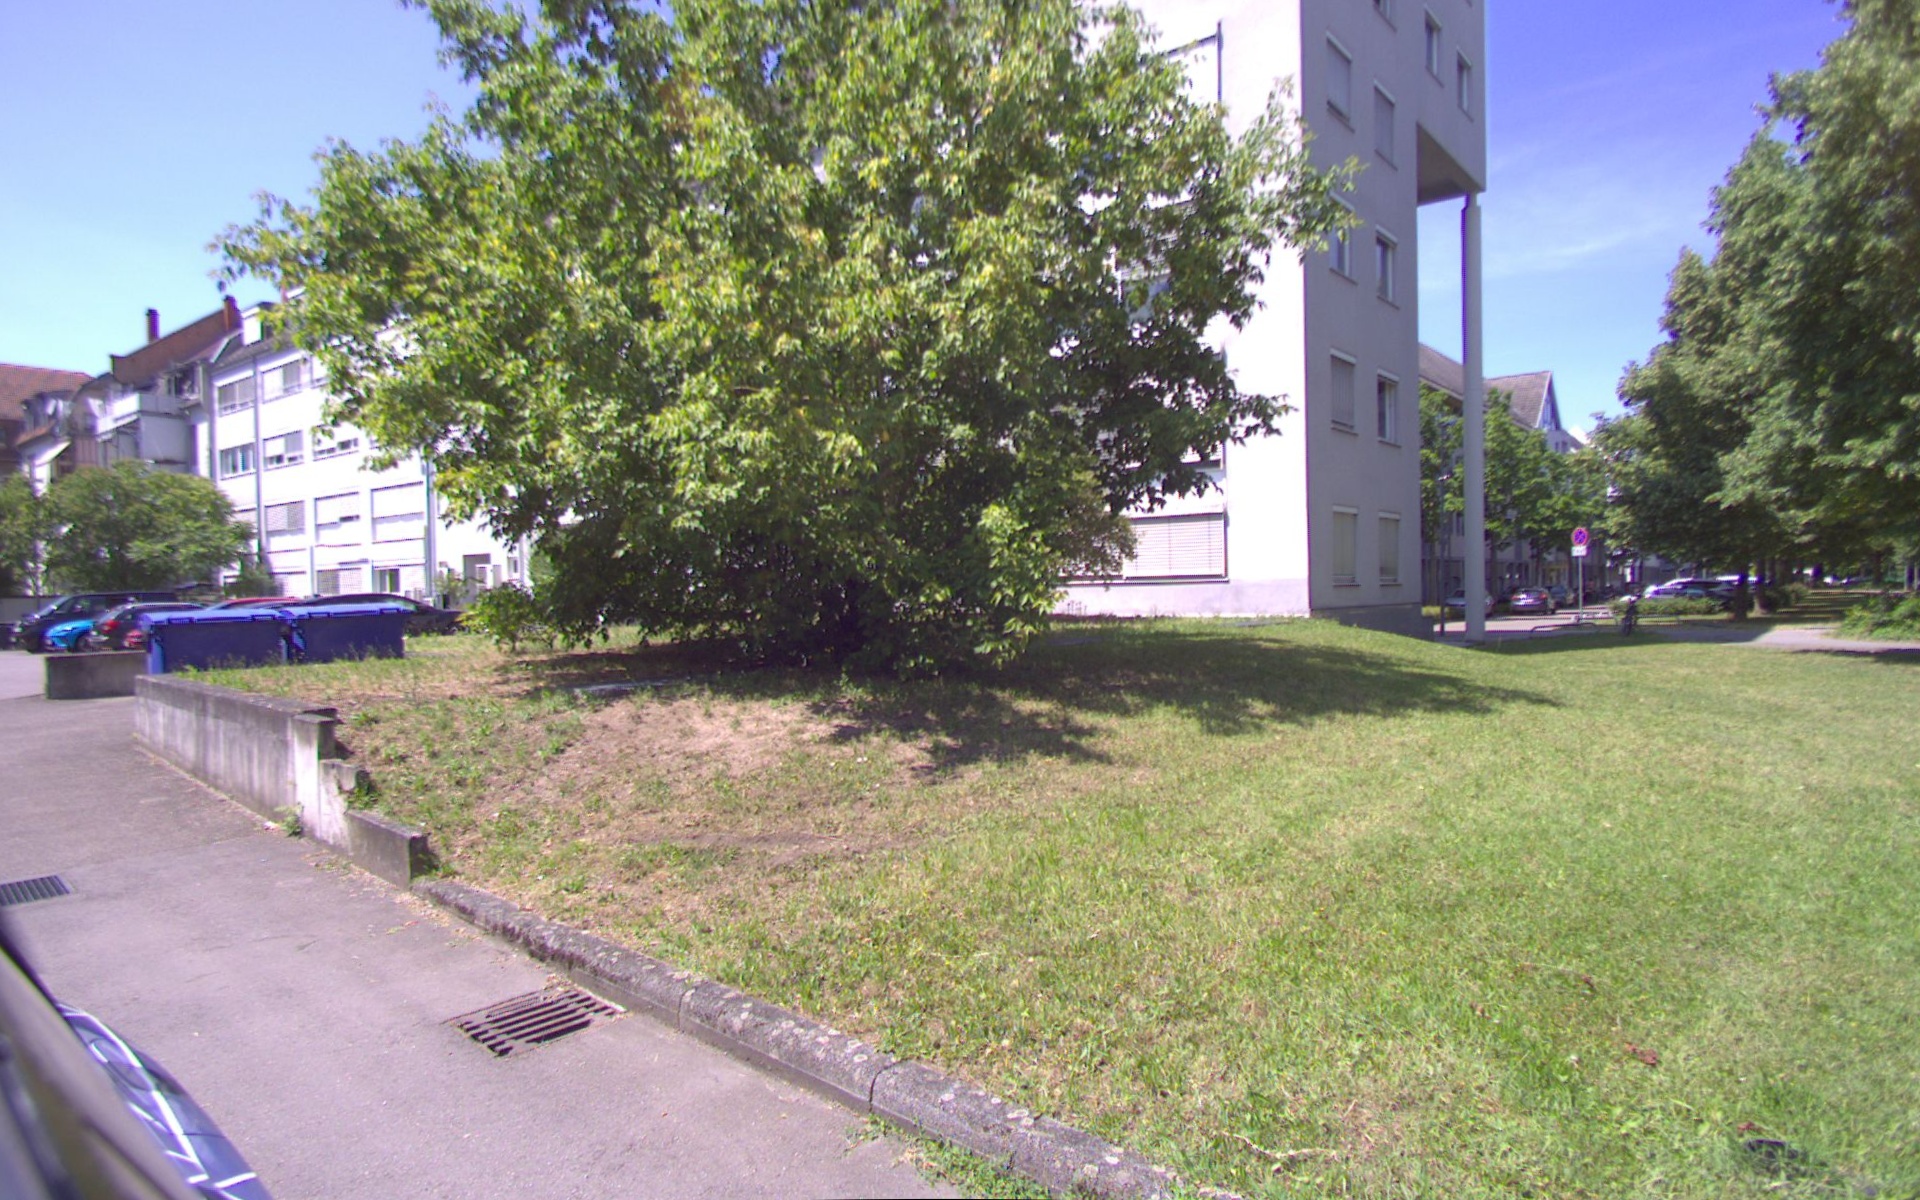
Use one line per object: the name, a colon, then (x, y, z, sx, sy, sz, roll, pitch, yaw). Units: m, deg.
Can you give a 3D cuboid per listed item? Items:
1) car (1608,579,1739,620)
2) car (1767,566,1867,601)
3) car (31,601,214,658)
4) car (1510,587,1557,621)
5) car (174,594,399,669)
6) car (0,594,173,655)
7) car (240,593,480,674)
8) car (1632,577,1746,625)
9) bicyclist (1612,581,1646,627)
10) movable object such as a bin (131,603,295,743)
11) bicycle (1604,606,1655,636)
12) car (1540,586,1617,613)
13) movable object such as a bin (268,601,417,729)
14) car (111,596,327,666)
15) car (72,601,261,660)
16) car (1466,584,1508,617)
car: (29.701, -0.046, 42.181, 4.338, 1.622, 1.908, 0, 1, 40)
car: (45.356, -0.881, 53.630, 3.997, 1.780, 1.806, 0, 1, 40)
car: (-26.343, 0.875, 31.957, 1.610, 1.580, 4.173, 0, 1, 36)
car: (28.224, 0.171, 49.912, 1.799, 1.615, 3.859, 0, 1, 27)
car: (-15.934, 0.676, 24.138, 1.610, 1.580, 4.173, 0, 1, 36)
car: (-28.924, 0.751, 33.474, 2.006, 1.837, 4.173, 0, 1, 36)
car: (-13.416, 0.668, 22.899, 1.610, 1.580, 4.392, 0, 1, 36)
car: (32.297, 0.032, 44.858, 3.997, 2.029, 1.973, 0, 1, 40)
bicyclist: (15.866, 0.096, 24.000, 0.518, 1.053, 0.515, -4, -3, 44)
movable object such as a bin: (-8.206, 0.745, 11.127, 1.095, 1.399, 1.254, 0, 1, 42)
bicycle: (15.878, 0.492, 23.995, 0.734, 0.646, 1.594, -4, -1, 43)
car: (38.203, -0.051, 62.513, 3.891, 1.643, 1.514, 0, 1, 40)
movable object such as a bin: (-7.372, 0.720, 12.101, 1.095, 1.399, 1.254, 0, 1, 42)
car: (-18.810, 0.713, 25.875, 1.610, 1.580, 4.173, 0, 1, 36)
car: (-23.680, 0.852, 30.352, 1.610, 1.580, 4.173, 0, 1, 36)
car: (26.980, -0.007, 51.891, 1.799, 1.615, 3.859, 0, 1, 27)
